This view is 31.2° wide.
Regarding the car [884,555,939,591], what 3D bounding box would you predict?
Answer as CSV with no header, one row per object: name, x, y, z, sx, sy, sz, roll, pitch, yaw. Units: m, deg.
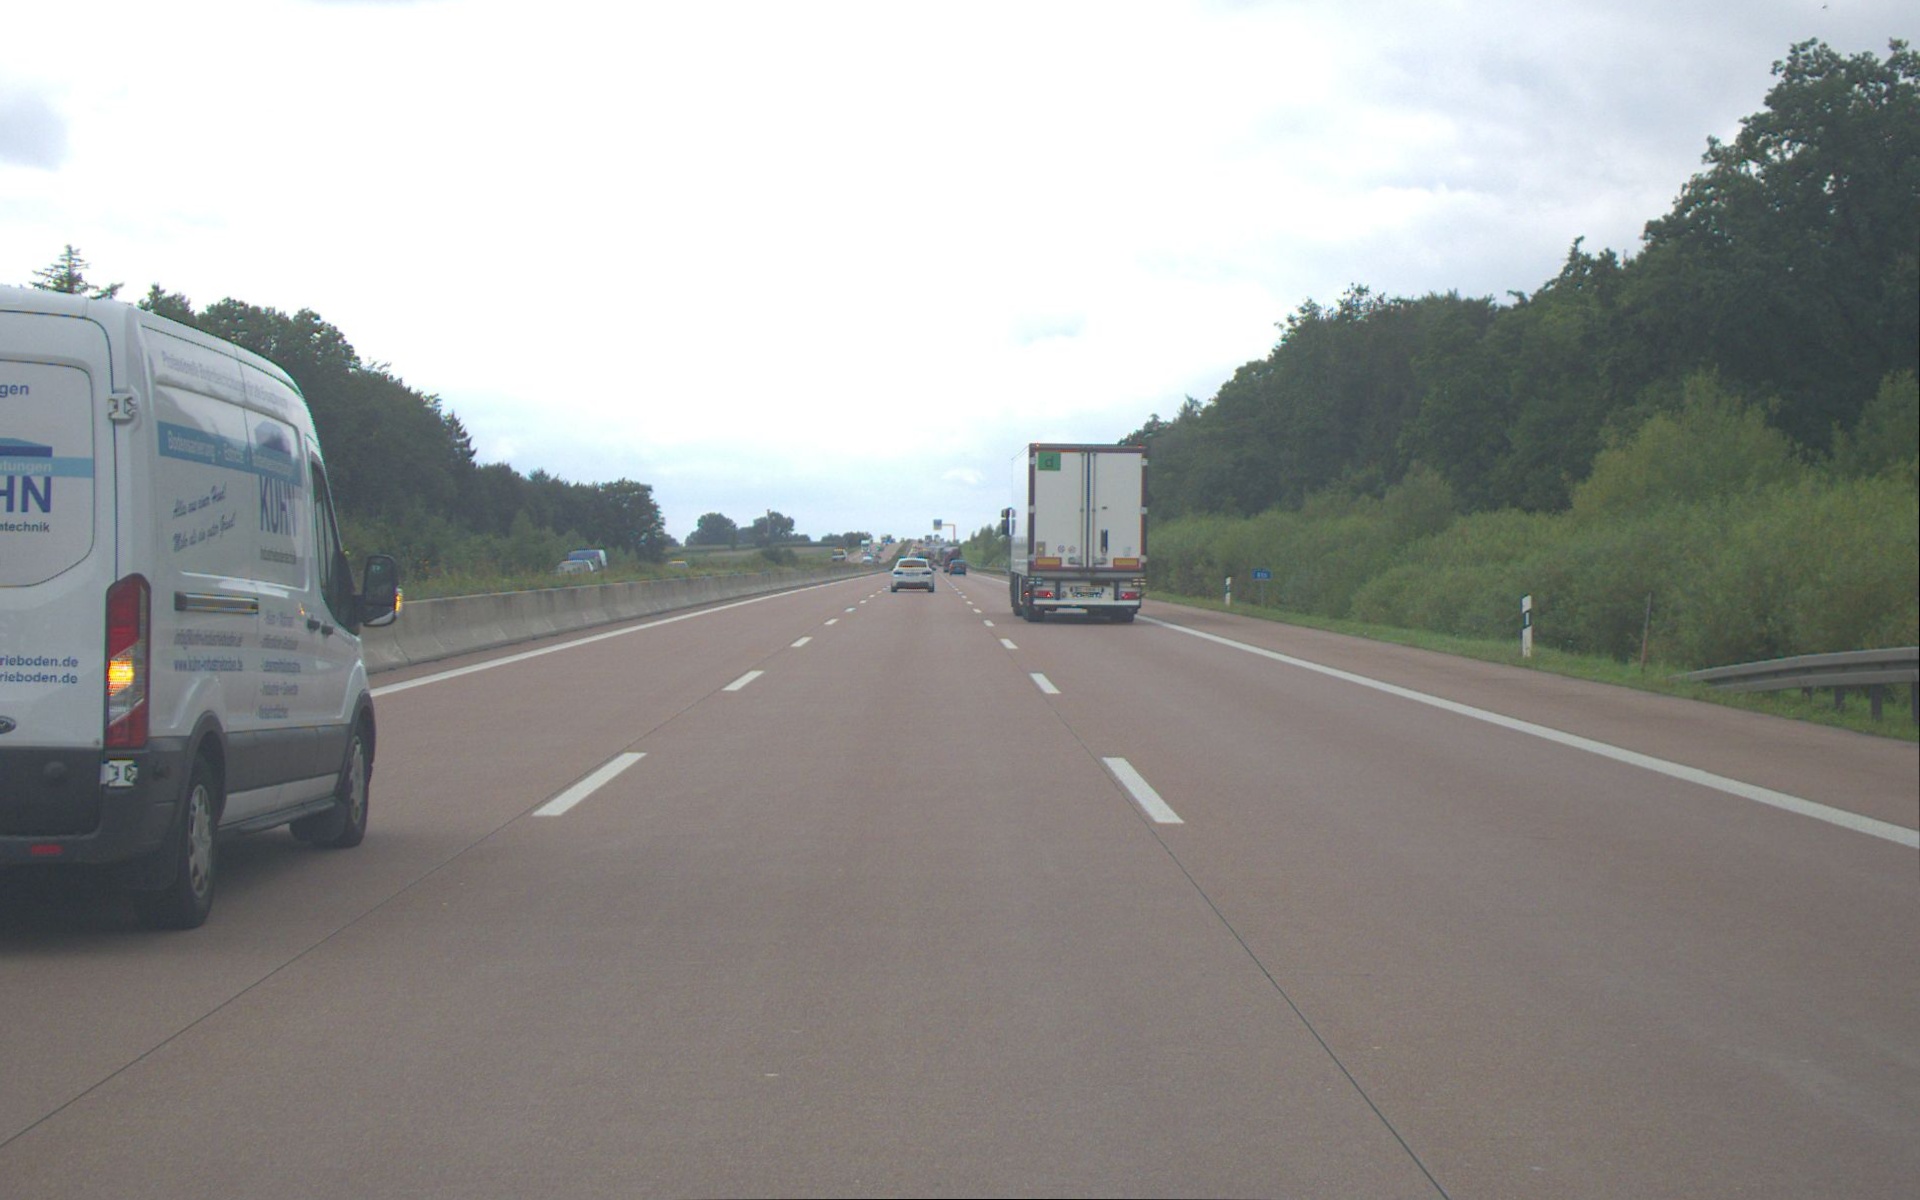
car,-2.084,-1.203,149.231,2.163,1.446,4.718,2,1,1

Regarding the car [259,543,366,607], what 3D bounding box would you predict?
car,-17.523,-0.695,93.284,1.993,1.675,4.887,-1,1,-1

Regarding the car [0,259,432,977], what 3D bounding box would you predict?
car,-3.978,-0.008,15.531,2.137,2.498,7.132,0,1,0

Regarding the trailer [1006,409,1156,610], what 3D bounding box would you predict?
trailer,2.707,-2.052,81.139,2.921,4.279,13.614,1,1,0
